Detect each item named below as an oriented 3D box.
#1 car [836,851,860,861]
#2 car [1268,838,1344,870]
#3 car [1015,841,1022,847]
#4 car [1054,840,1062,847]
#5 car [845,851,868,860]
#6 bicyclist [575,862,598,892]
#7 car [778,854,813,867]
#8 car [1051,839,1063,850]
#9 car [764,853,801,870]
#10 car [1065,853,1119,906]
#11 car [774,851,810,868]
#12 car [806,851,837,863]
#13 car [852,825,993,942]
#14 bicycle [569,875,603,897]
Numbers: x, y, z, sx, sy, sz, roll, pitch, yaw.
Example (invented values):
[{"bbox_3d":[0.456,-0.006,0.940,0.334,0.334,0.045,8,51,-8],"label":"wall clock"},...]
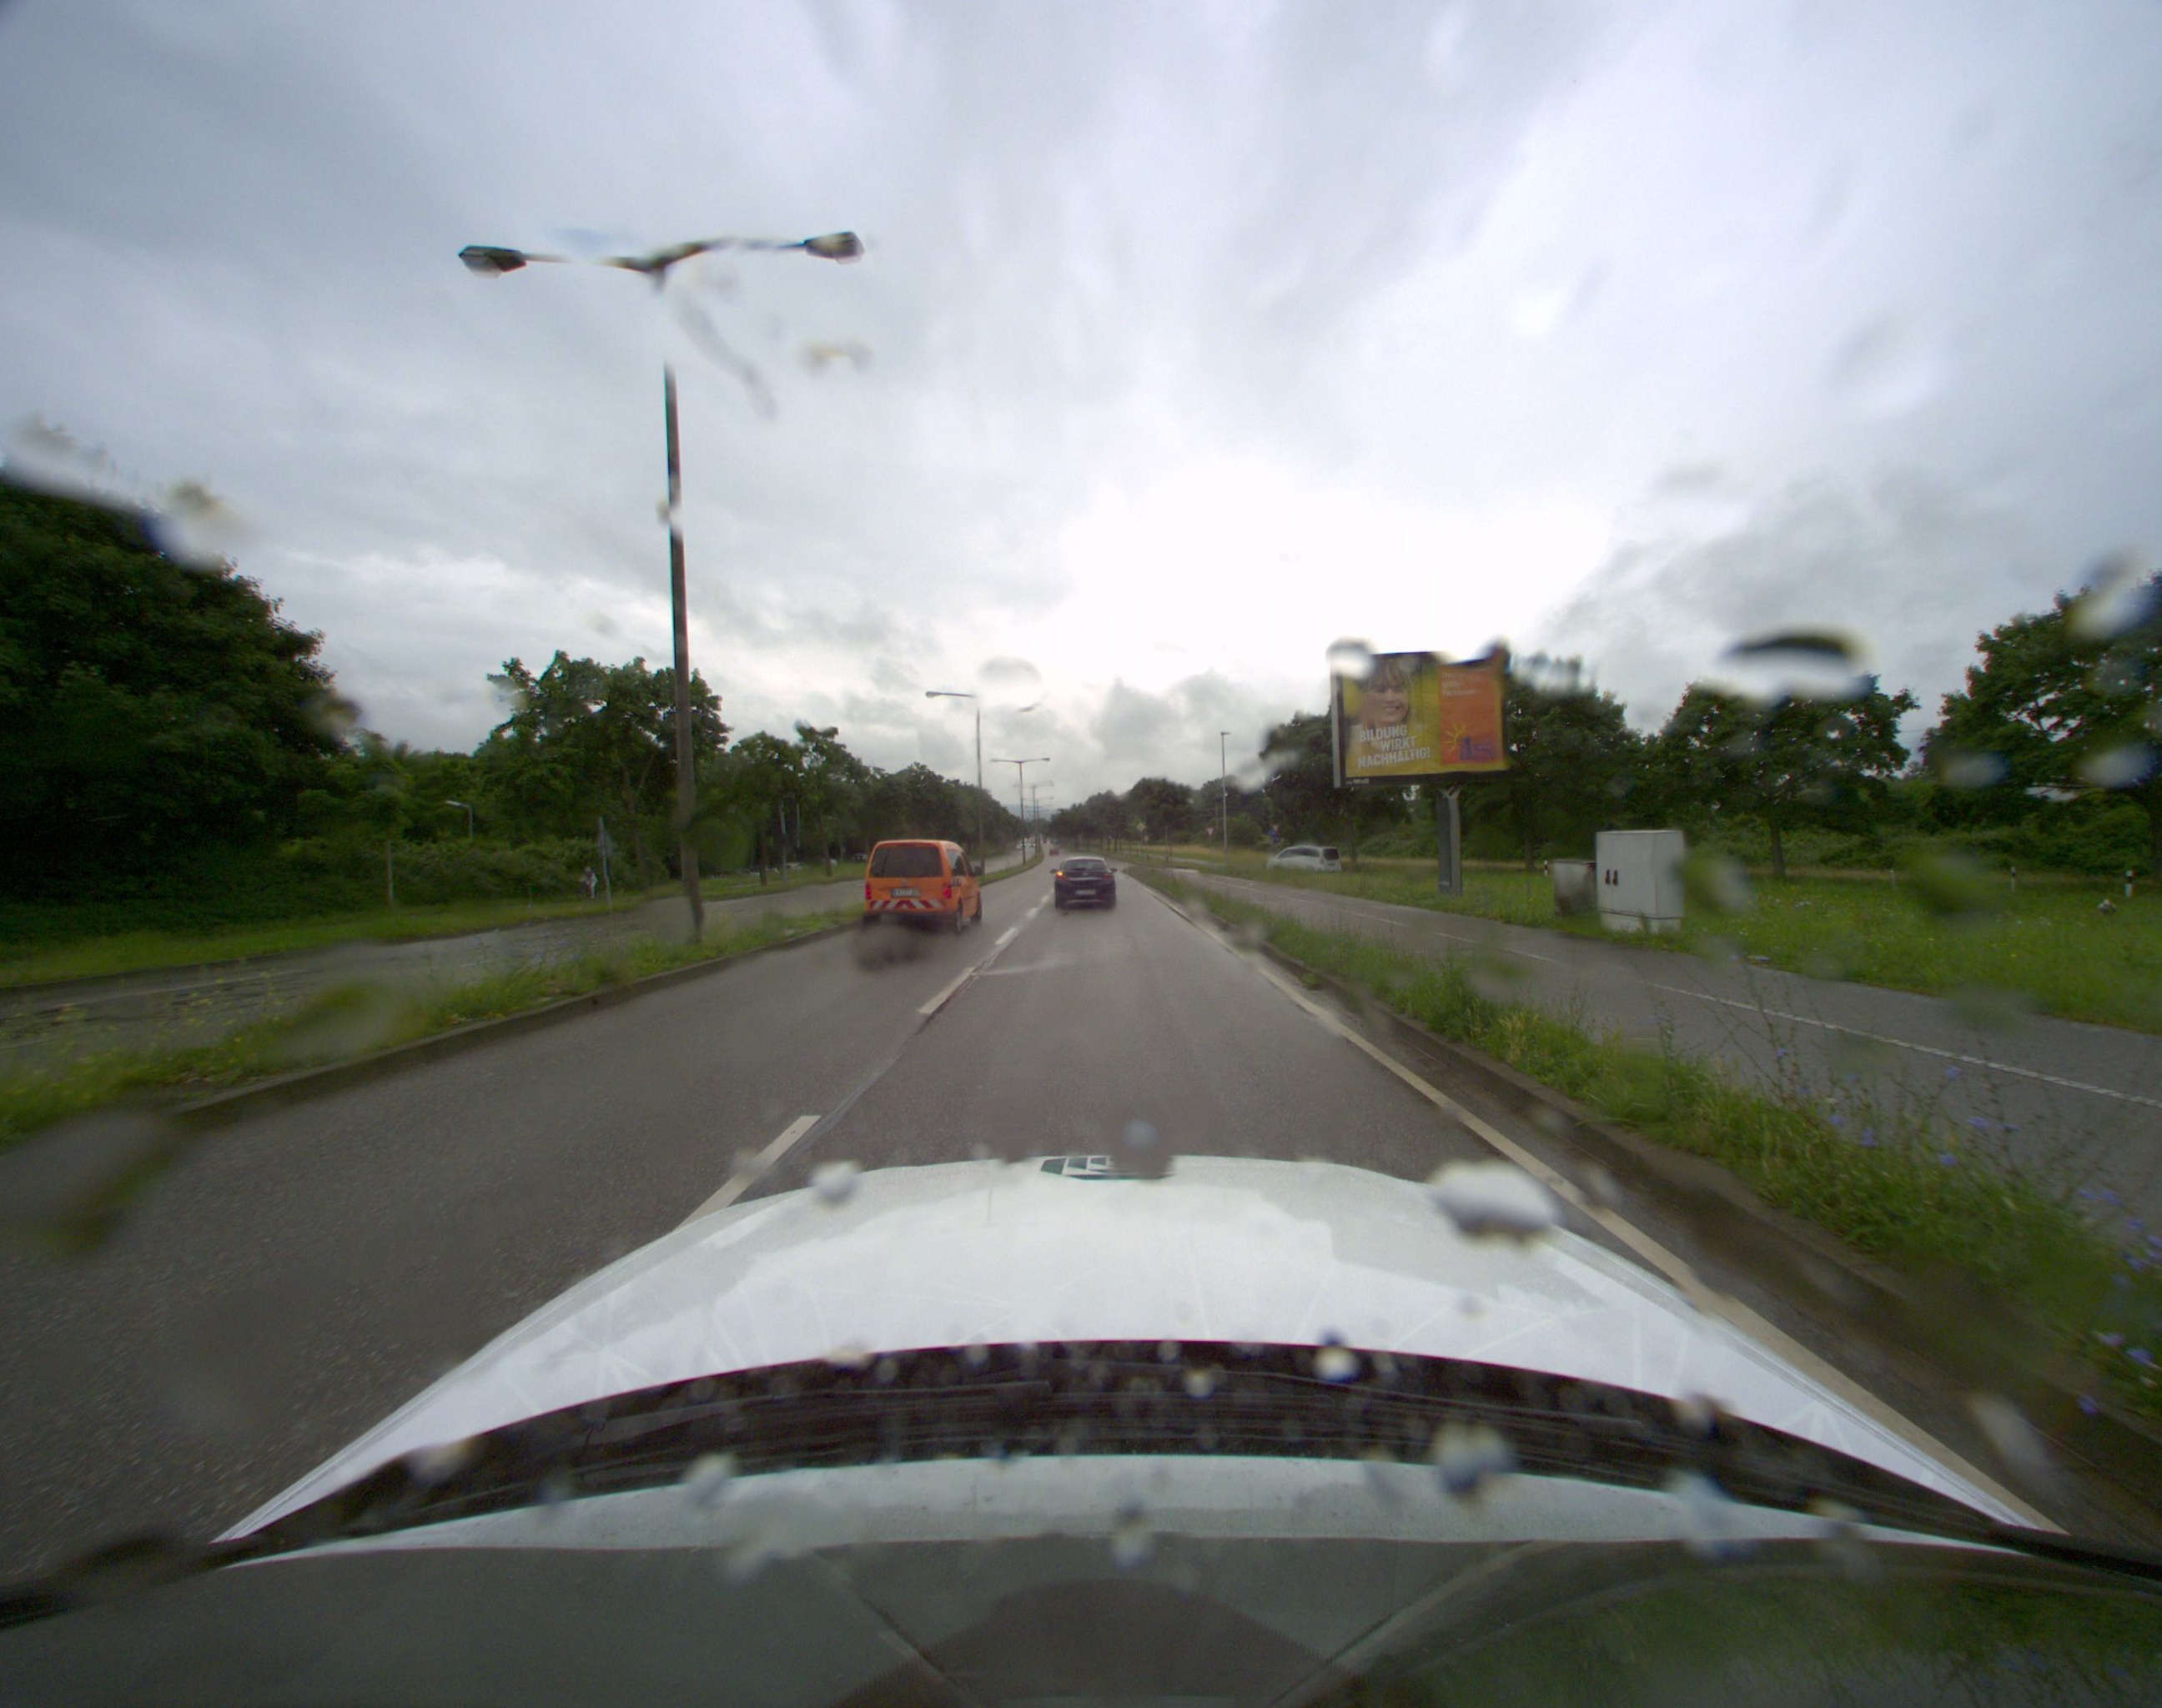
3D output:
[{"bbox_3d":[-40.391,0.330,140.958,3.730,1.426,1.485,-2,1,-7],"label":"car"},{"bbox_3d":[14.437,-0.025,52.496,2.073,1.974,4.561,-1,0,-32],"label":"car"},{"bbox_3d":[-17.060,-2.786,222.514,1.677,1.554,4.000,0,0,0],"label":"car"},{"bbox_3d":[-7.386,-3.277,259.126,2.510,2.052,5.289,-2,0,-2],"label":"car"},{"bbox_3d":[-40.932,0.262,148.575,3.831,1.452,1.521,-2,1,-7],"label":"car"},{"bbox_3d":[-22.178,1.040,36.513,0.520,1.302,0.808,-1,0,1],"label":"bicyclist"},{"bbox_3d":[-38.038,0.883,108.622,3.983,1.618,1.996,-2,1,-7],"label":"car"},{"bbox_3d":[-4.197,-1.603,144.383,1.986,1.879,4.001,-1,0,1],"label":"car"},{"bbox_3d":[-37.979,0.905,103.672,3.983,2.013,1.996,-2,1,-7],"label":"car"},{"bbox_3d":[0.332,0.684,23.729,1.458,1.328,3.759,-1,1,1],"label":"car"},{"bbox_3d":[-37.703,0.693,106.337,3.983,2.013,1.996,-2,1,-7],"label":"car"},{"bbox_3d":[-38.487,0.438,120.906,3.983,1.640,1.907,-2,1,-7],"label":"car"},{"bbox_3d":[-3.024,0.497,16.612,1.728,2.018,4.852,-1,0,2],"label":"car"},{"bbox_3d":[-22.173,1.416,36.509,0.520,0.886,1.634,-1,0,1],"label":"bicycle"}]
